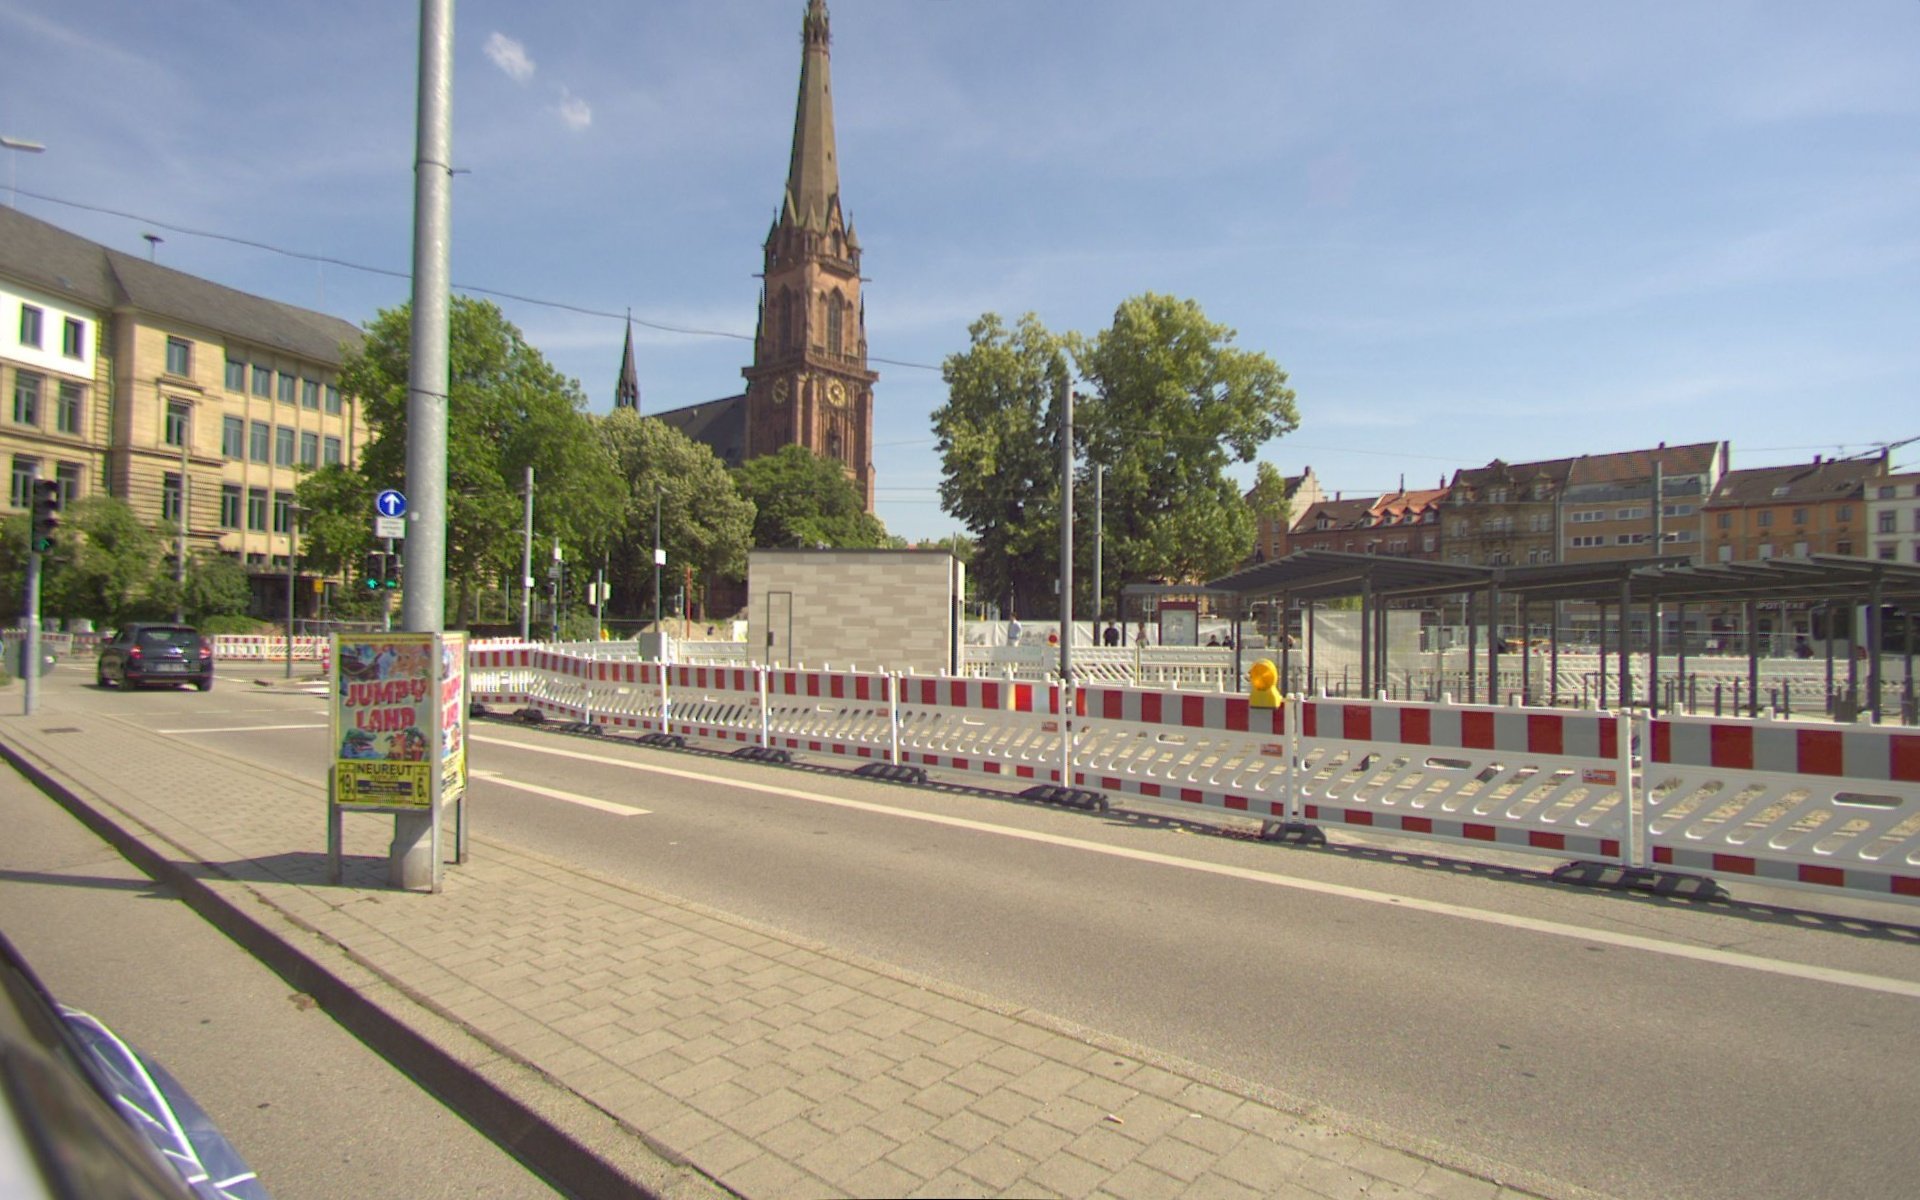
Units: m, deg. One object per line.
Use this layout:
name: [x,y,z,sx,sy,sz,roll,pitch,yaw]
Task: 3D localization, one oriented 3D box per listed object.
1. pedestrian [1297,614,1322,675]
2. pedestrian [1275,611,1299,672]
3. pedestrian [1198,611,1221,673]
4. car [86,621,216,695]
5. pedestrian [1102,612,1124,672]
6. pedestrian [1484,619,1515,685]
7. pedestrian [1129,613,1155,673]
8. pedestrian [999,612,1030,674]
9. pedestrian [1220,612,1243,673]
pedestrian: [11.786,1.493,34.151,0.679,2.029,0.818,0,-2,11]
pedestrian: [11.080,1.397,34.328,0.679,2.029,0.818,0,-2,11]
pedestrian: [8.385,1.406,33.994,0.679,2.029,0.818,0,-2,11]
car: [-18.818,1.306,23.502,3.630,1.586,1.644,-1,-3,41]
pedestrian: [5.240,1.443,34.699,0.678,2.029,0.819,0,-2,7]
pedestrian: [16.879,1.634,31.684,0.680,2.029,0.816,0,-2,16]
pedestrian: [6.229,1.459,34.611,0.810,2.029,0.685,1,-2,6]
pedestrian: [1.816,1.430,33.669,0.686,2.029,0.809,-1,-3,43]
pedestrian: [9.093,1.419,33.915,0.679,2.029,0.818,0,-2,11]
